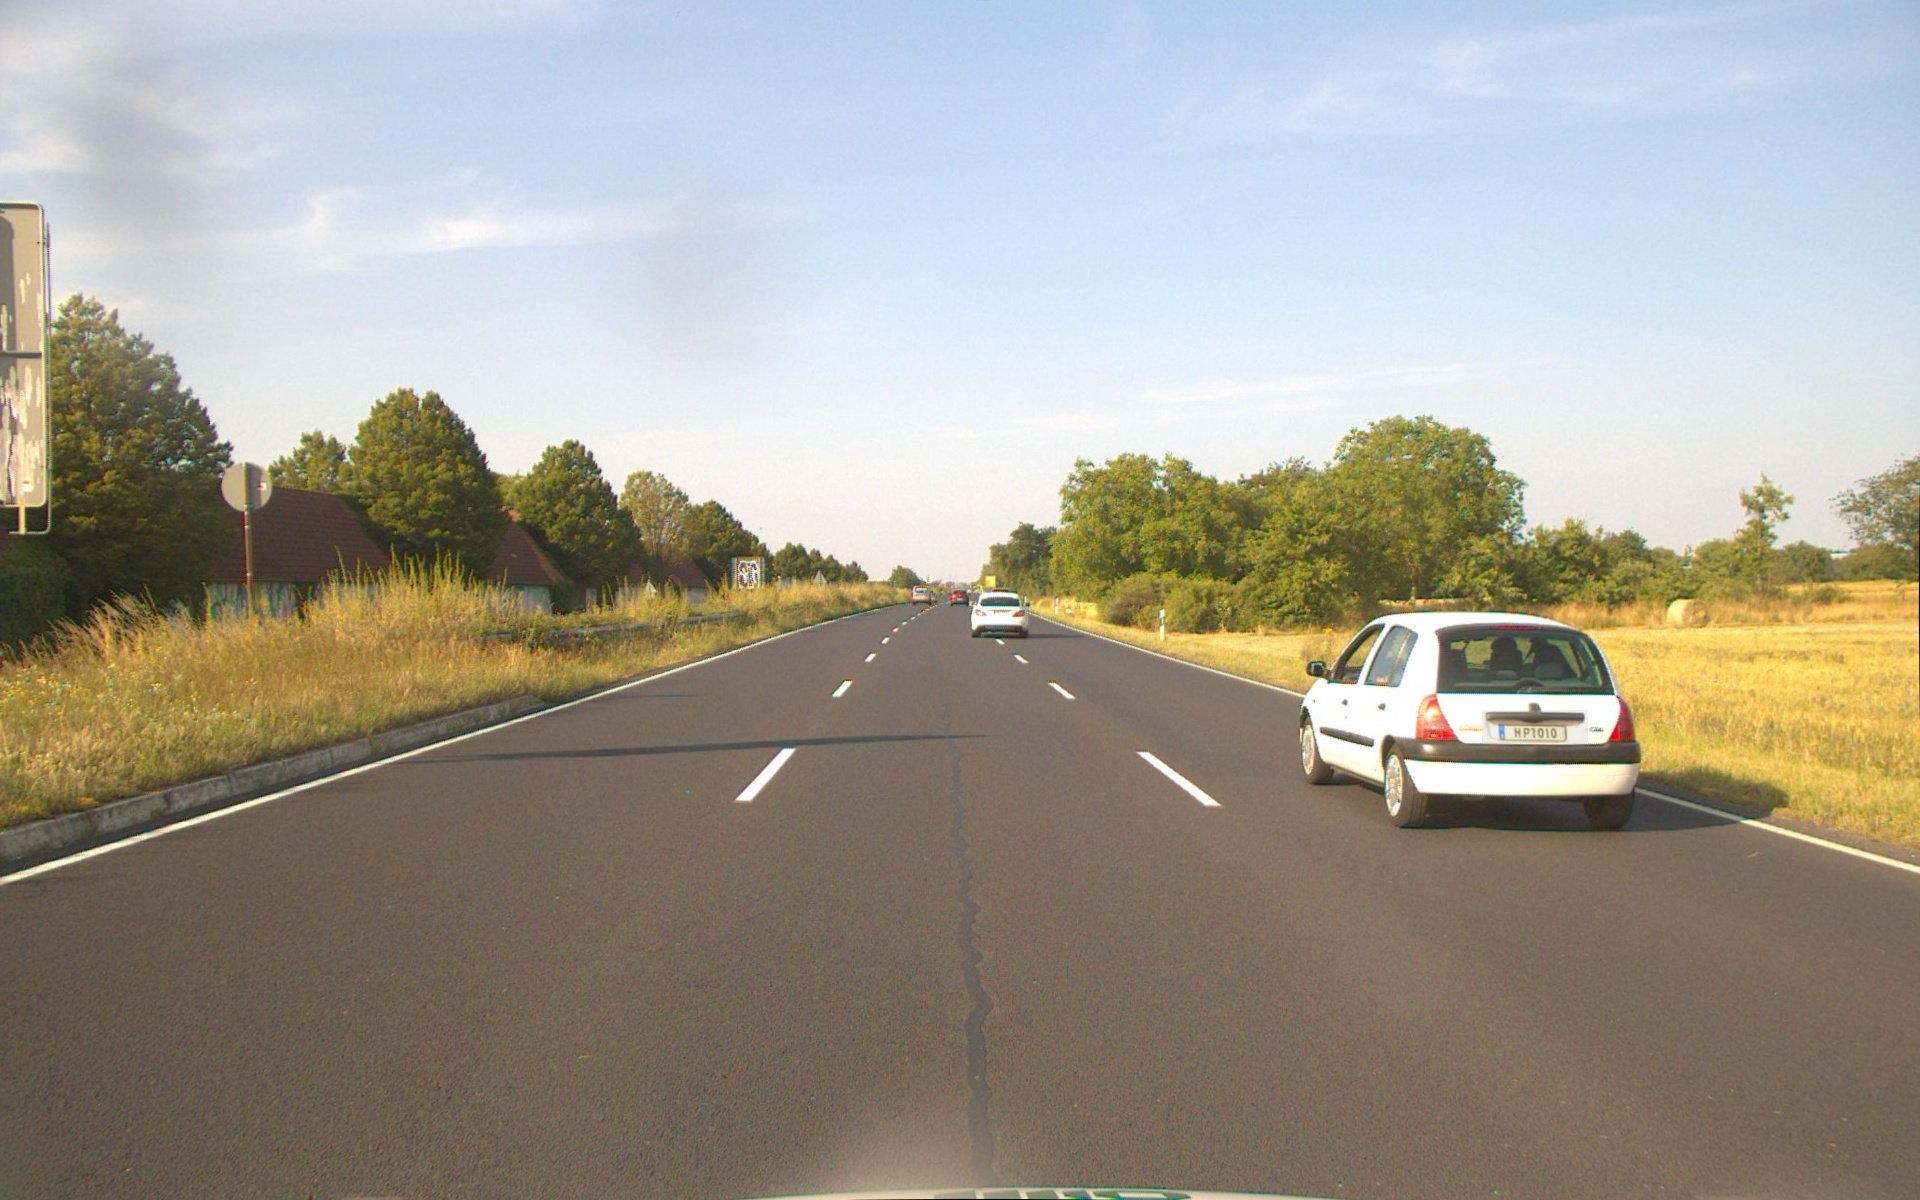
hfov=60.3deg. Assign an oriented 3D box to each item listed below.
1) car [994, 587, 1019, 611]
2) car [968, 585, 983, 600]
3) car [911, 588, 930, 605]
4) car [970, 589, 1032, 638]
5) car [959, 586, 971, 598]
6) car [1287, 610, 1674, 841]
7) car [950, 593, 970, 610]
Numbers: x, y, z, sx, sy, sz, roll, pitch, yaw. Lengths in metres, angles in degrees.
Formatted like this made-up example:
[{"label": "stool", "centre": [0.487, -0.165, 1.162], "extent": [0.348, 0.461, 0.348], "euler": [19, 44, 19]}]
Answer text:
[{"label": "car", "centre": [3.579, -0.076, 127.722], "extent": [1.790, 1.758, 3.999], "euler": [1, -1, 0]}, {"label": "car", "centre": [1.797, -0.852, 194.877], "extent": [1.733, 1.713, 4.000], "euler": [1, -1, 1]}, {"label": "car", "centre": [-3.915, -0.308, 165.164], "extent": [1.722, 1.646, 4.001], "euler": [1, -1, 2]}, {"label": "car", "centre": [1.317, 0.436, 54.649], "extent": [1.953, 1.543, 4.000], "euler": [1, -1, 0]}, {"label": "car", "centre": [0.785, -1.223, 250.026], "extent": [1.733, 1.713, 4.000], "euler": [1, -1, 1]}, {"label": "car", "centre": [3.617, 0.793, 12.215], "extent": [1.584, 1.411, 3.951], "euler": [1, -1, -1]}, {"label": "car", "centre": [-0.016, 0.143, 152.209], "extent": [1.775, 1.461, 3.857], "euler": [1, -1, -1]}]
